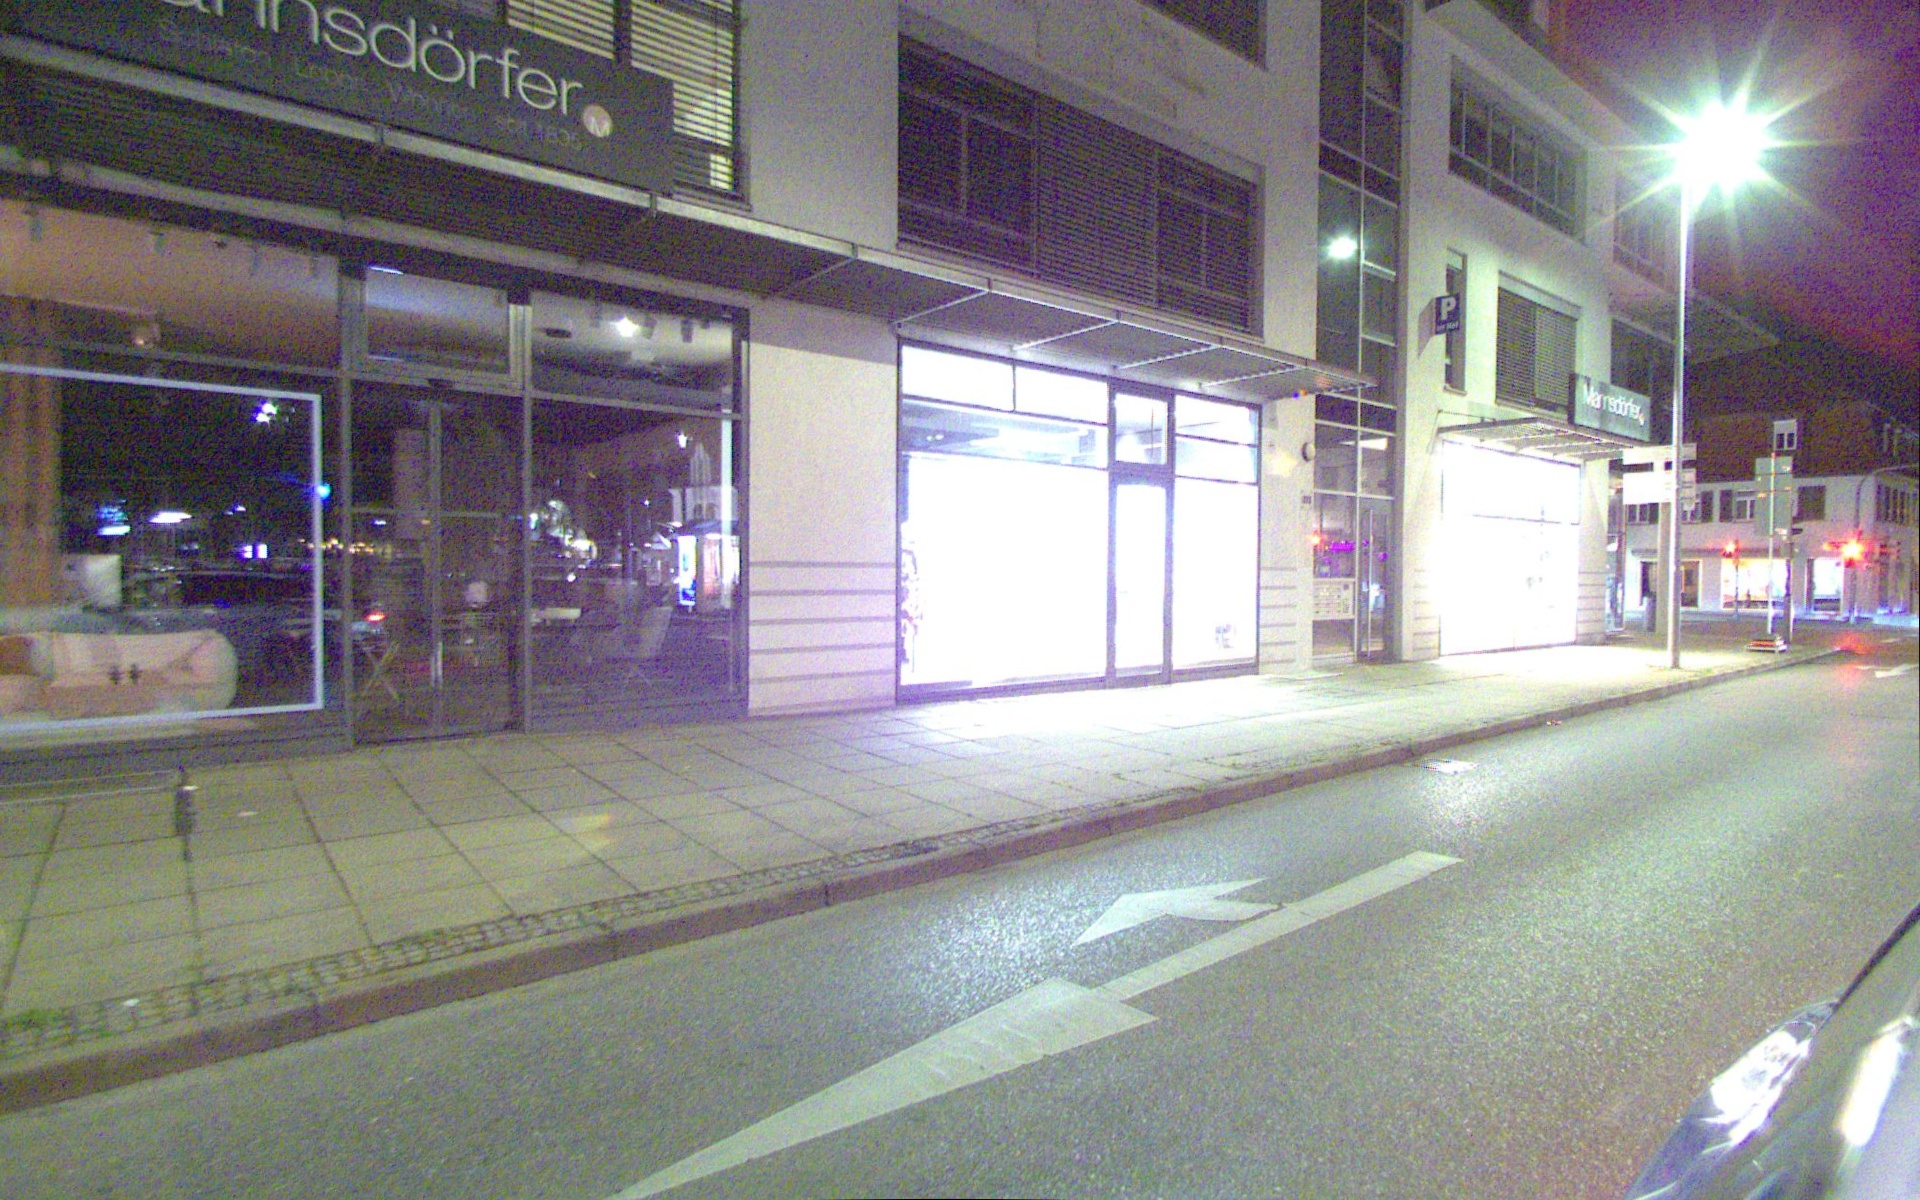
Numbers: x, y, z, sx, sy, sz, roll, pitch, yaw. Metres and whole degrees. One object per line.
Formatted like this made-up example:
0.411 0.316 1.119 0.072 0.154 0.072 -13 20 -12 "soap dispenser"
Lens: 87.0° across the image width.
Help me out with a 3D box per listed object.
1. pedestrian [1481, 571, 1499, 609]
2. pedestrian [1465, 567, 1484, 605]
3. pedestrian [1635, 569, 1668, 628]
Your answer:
24.066 -0.452 45.949 0.556 1.738 0.524 0 0 -35 "pedestrian"
23.595 -0.645 46.426 0.556 1.738 0.567 0 0 -34 "pedestrian"
20.430 -0.051 29.902 0.634 1.703 0.541 0 0 -19 "pedestrian"
